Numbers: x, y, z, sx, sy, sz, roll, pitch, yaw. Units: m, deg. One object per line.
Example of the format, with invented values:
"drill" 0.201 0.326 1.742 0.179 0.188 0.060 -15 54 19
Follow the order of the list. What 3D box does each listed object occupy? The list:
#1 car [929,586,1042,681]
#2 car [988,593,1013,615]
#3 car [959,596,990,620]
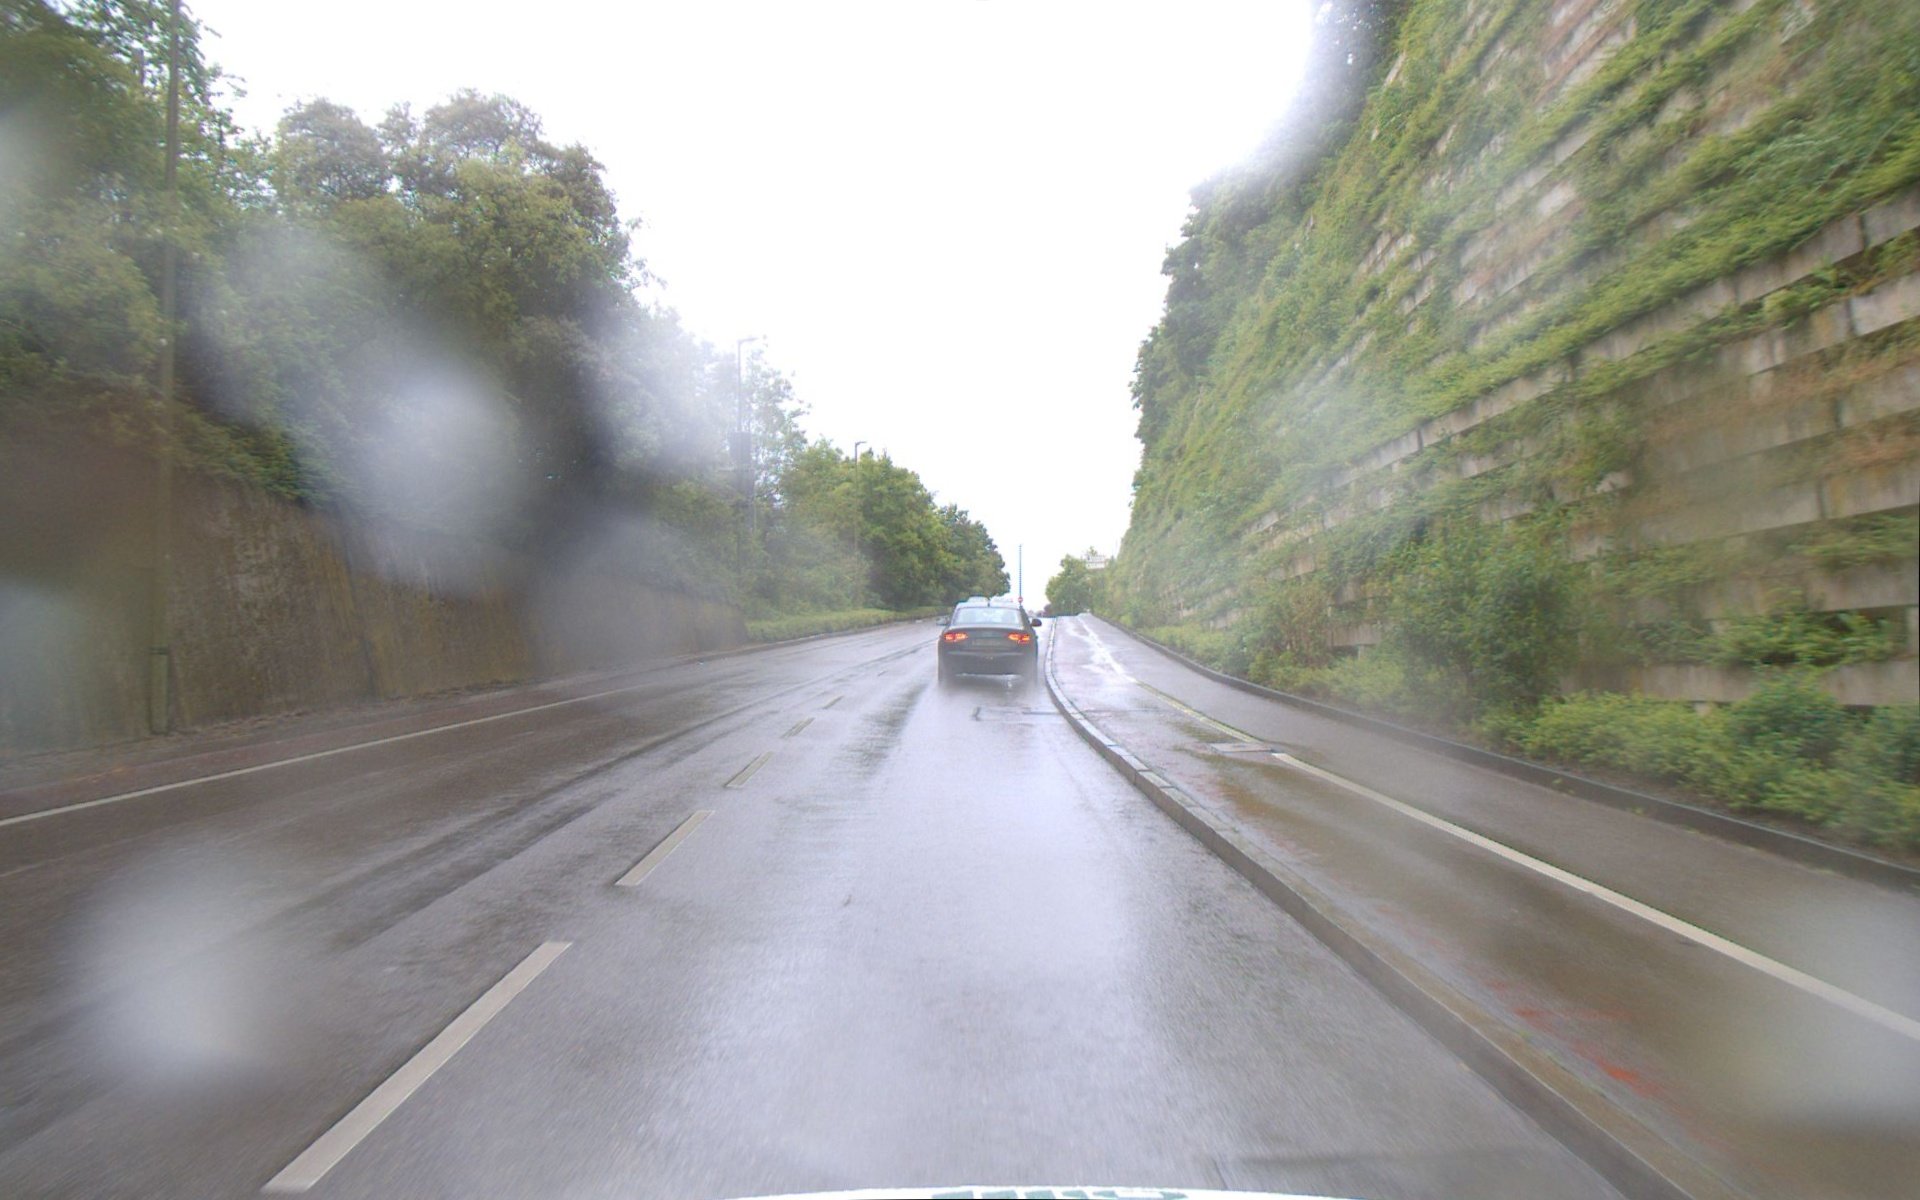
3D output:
"car" 0.448 0.583 29.744 1.854 1.518 4.207 -2 -1 0
"car" 3.251 0.306 133.059 1.784 1.643 4.095 -1 0 4
"car" 0.926 0.486 104.807 1.826 1.474 4.378 -1 0 2
